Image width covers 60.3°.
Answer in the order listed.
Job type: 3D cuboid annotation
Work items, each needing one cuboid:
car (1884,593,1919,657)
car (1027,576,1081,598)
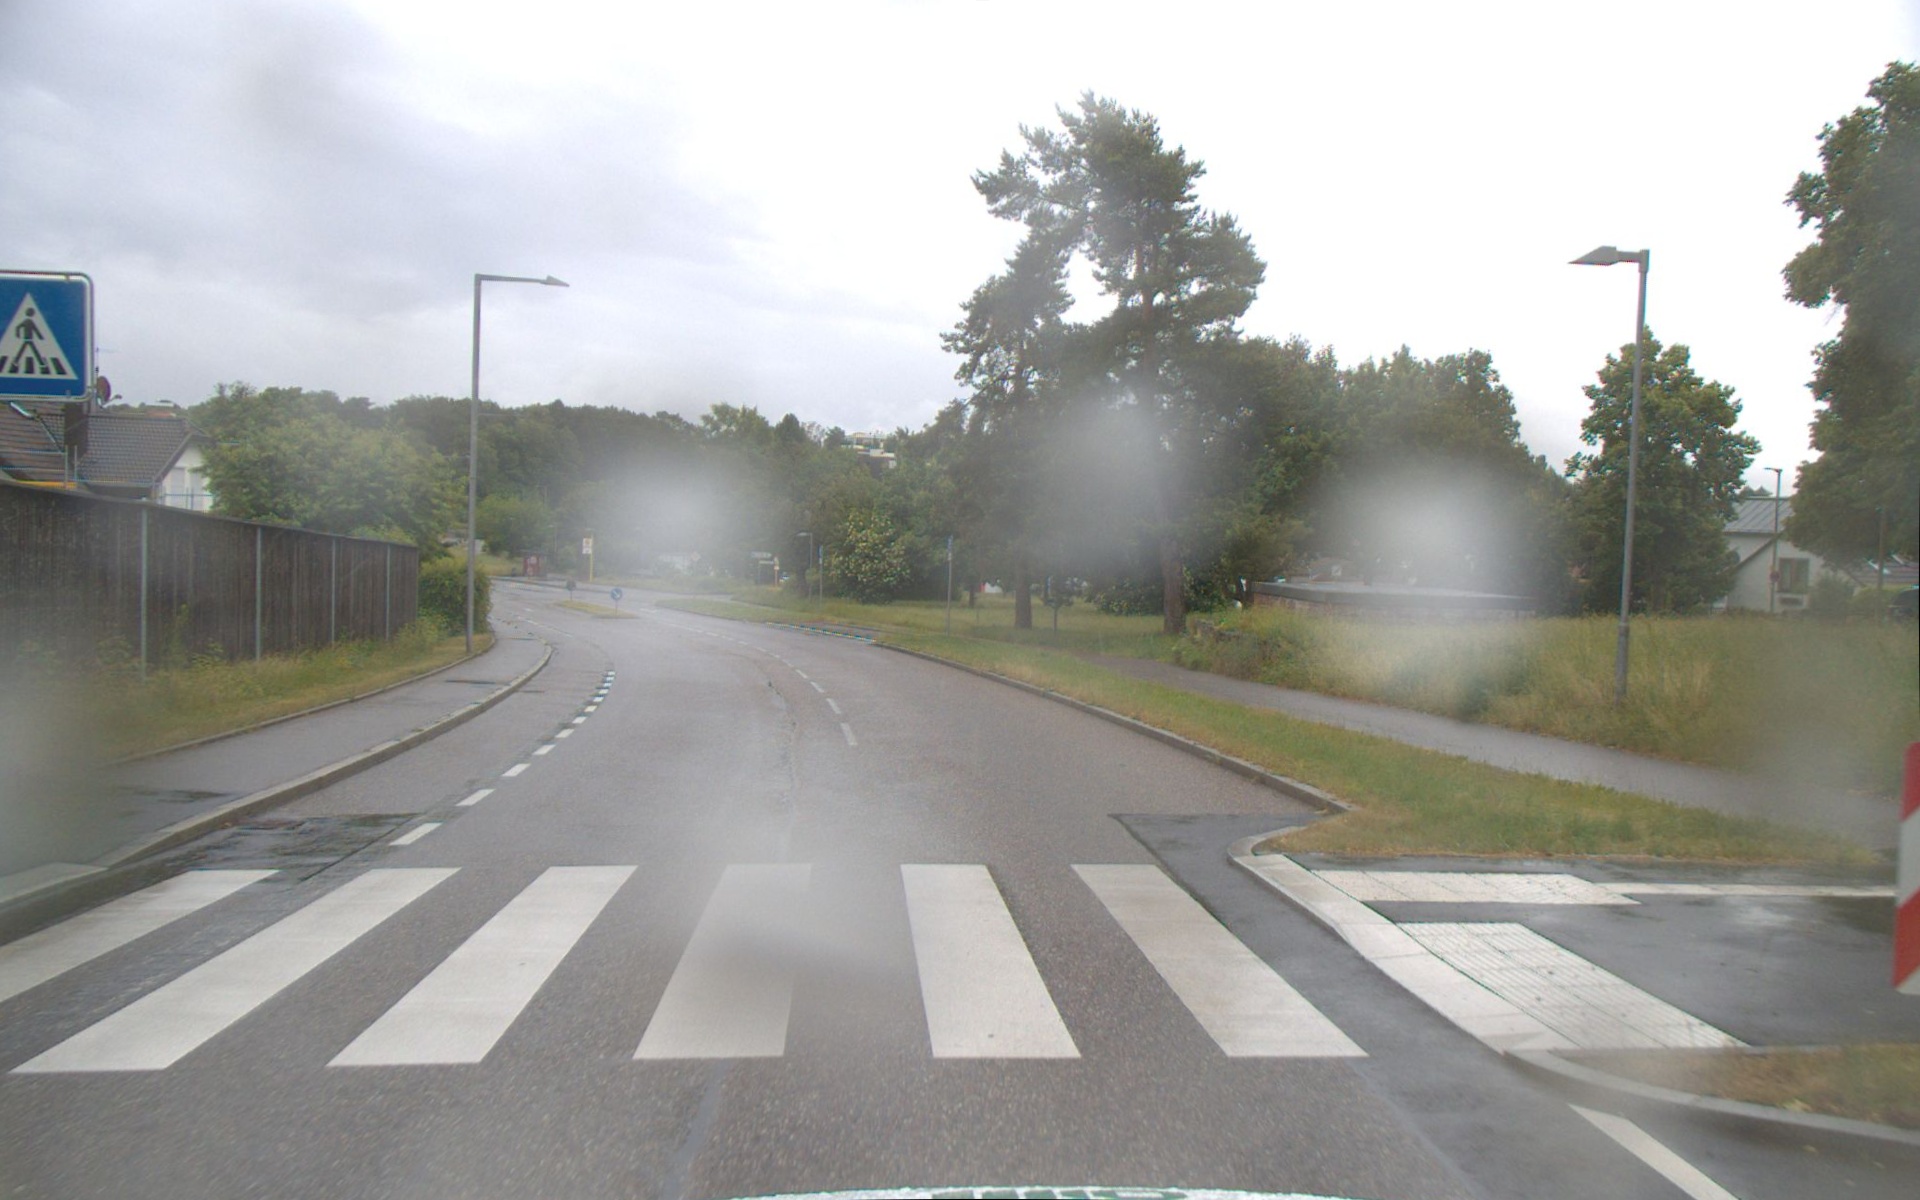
[{"bbox_3d":[26.225,0.684,43.270,1.789,1.681,3.998,1,0,-2],"label":"car"},{"bbox_3d":[8.253,-1.125,145.577,4.466,1.780,1.906,-2,0,36],"label":"car"}]
